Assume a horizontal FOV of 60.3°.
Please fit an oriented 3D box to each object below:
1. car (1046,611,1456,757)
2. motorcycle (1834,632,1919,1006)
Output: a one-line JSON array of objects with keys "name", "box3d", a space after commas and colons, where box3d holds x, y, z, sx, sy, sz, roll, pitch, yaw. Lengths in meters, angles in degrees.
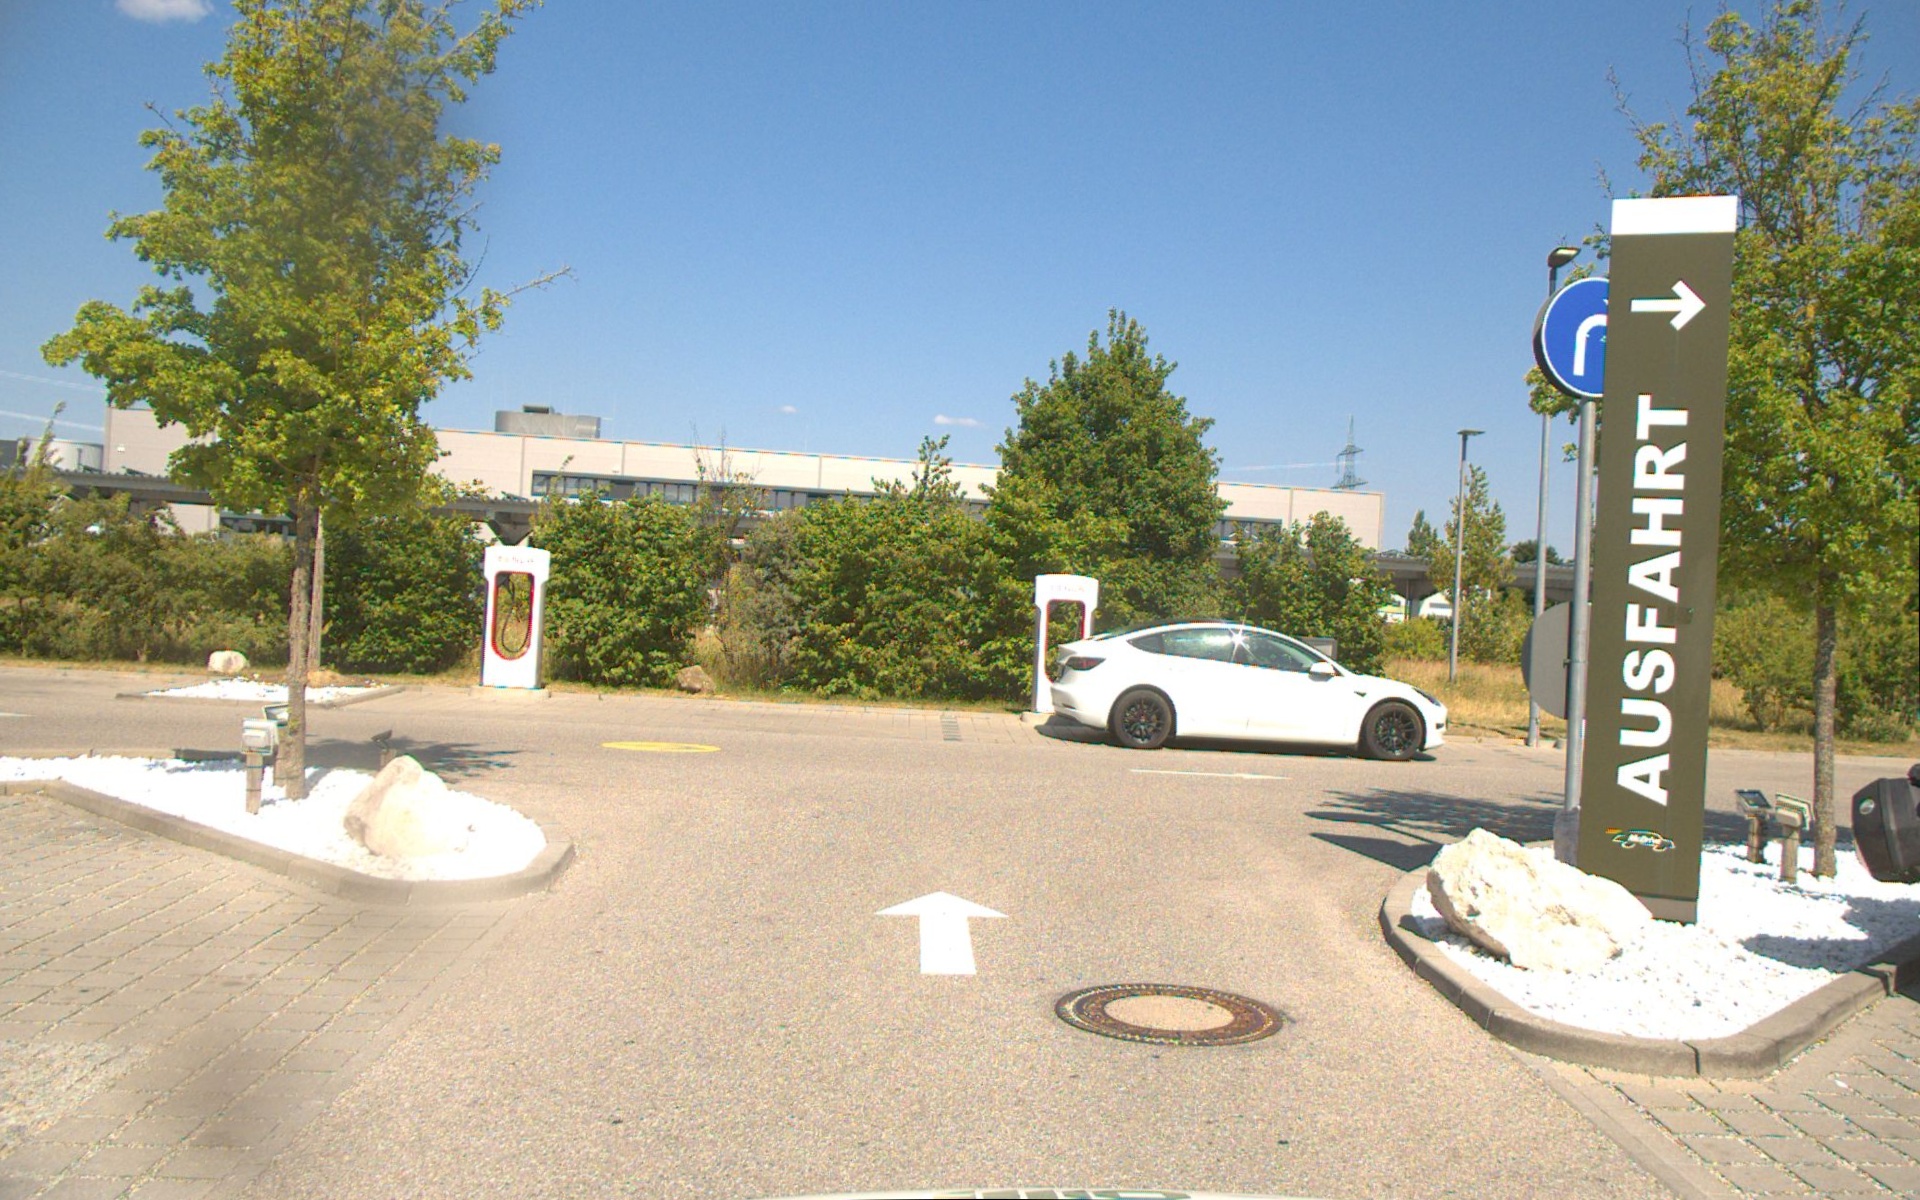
[{"name": "car", "box3d": [3.253, 0.928, 19.081, 4.345, 1.401, 1.822, 3, 0, -2]}, {"name": "motorcycle", "box3d": [4.275, 0.800, 6.468, 1.051, 1.272, 2.241, 4, 2, 39]}]
